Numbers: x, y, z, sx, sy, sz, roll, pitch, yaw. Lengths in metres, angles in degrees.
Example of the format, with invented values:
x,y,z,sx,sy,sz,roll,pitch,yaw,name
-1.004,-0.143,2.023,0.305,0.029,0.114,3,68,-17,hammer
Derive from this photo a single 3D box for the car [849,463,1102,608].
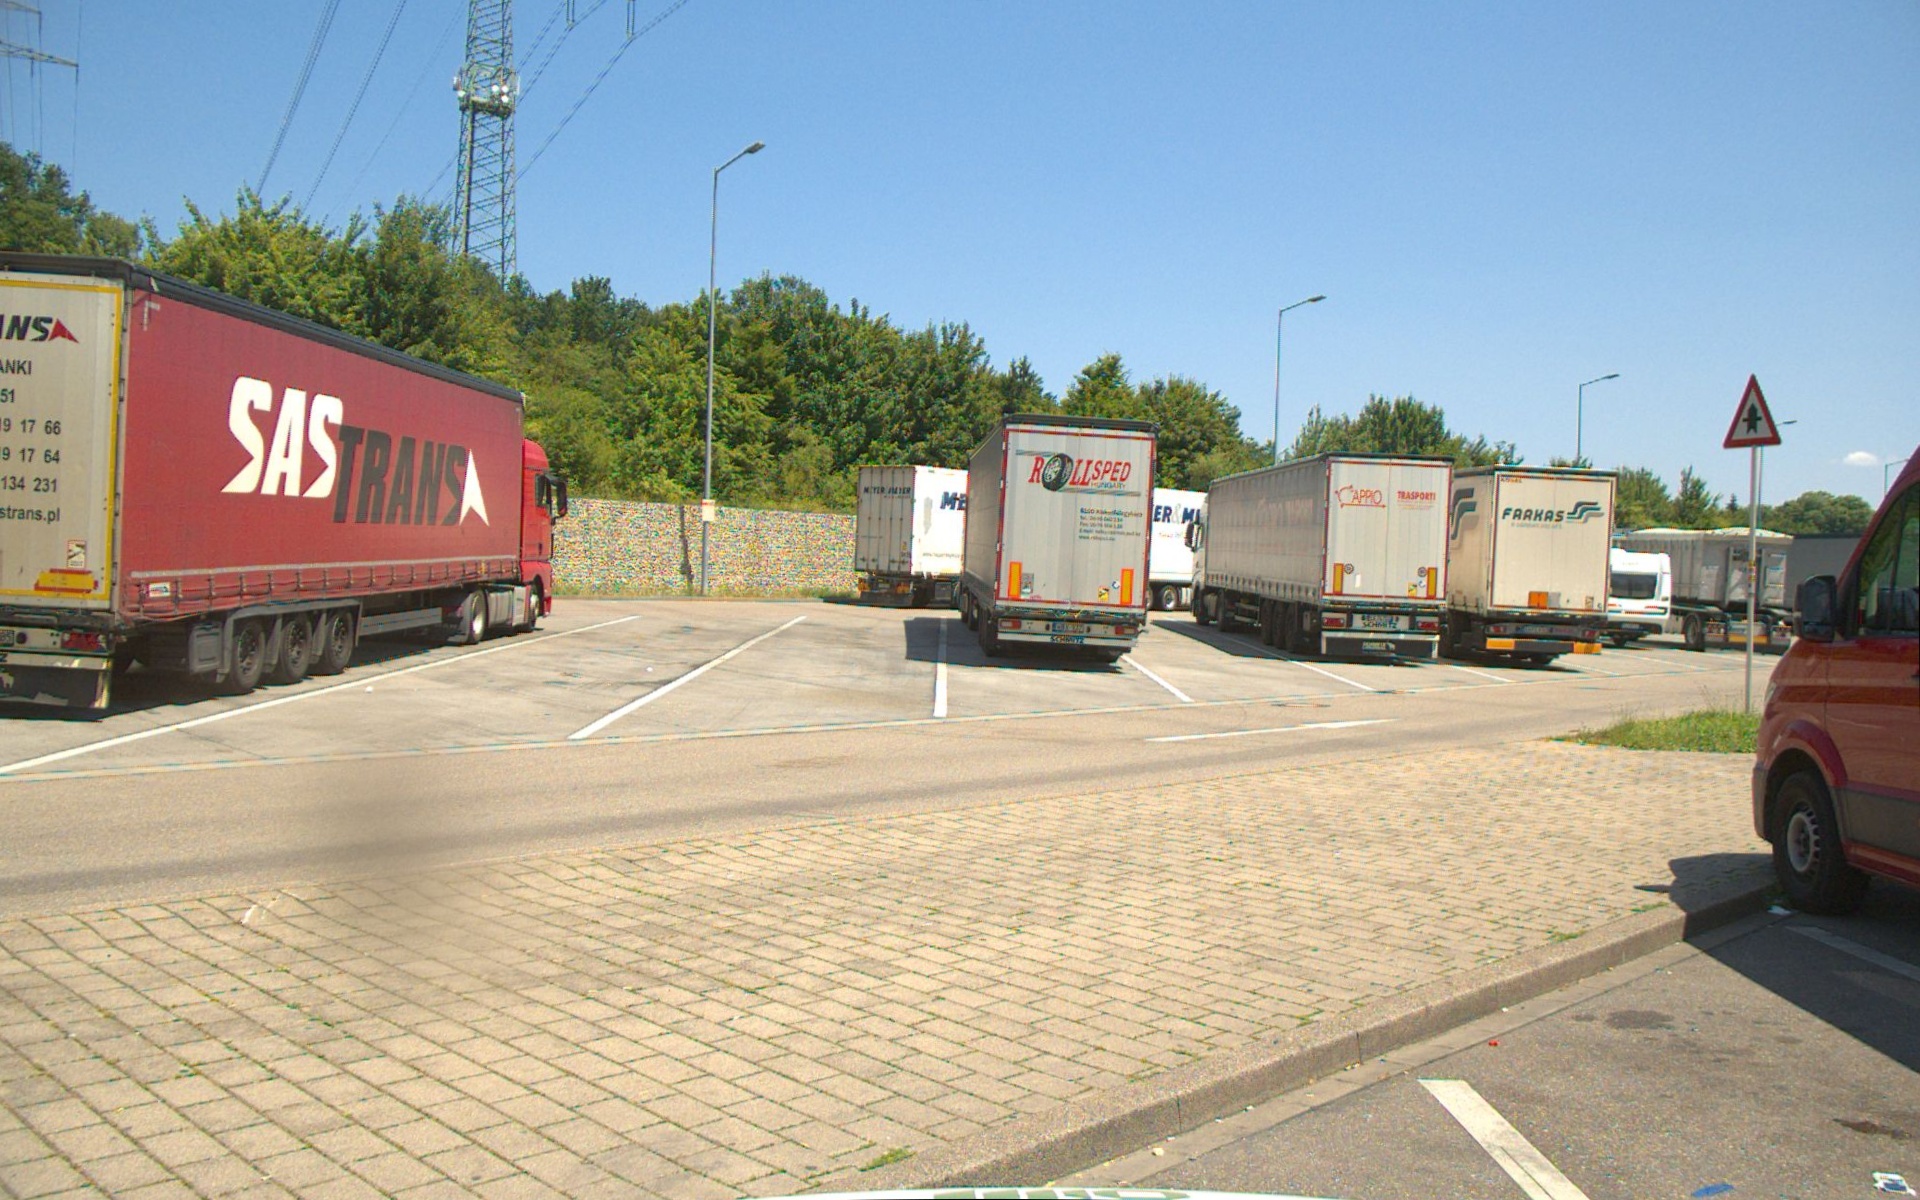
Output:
x,y,z,sx,sy,sz,roll,pitch,yaw,name
0.630,-1.913,51.359,2.645,4.114,8.407,5,3,44,car

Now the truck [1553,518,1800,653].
x,y,z,sx,sy,sz,roll,pitch,yaw,name
21.758,-0.640,51.197,2.437,3.630,11.423,2,2,-1,truck

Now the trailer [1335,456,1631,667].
x,y,z,sx,sy,sz,roll,pitch,yaw,name
11.830,-1.018,39.178,2.808,4.107,12.438,2,2,-1,trailer

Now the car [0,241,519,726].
x,y,z,sx,sy,sz,roll,pitch,yaw,name
-8.673,-1.280,20.921,2.641,4.184,12.935,2,2,0,car

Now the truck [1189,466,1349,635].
x,y,z,sx,sy,sz,roll,pitch,yaw,name
8.175,-1.380,44.692,2.808,4.107,6.956,2,2,-1,truck

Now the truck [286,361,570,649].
x,y,z,sx,sy,sz,roll,pitch,yaw,name
-8.692,-1.528,27.838,2.641,4.184,6.239,2,2,0,truck

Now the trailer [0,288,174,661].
x,y,z,sx,sy,sz,roll,pitch,yaw,name
-12.544,-1.406,17.123,2.756,4.341,12.940,2,2,-1,trailer

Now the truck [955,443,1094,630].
x,y,z,sx,sy,sz,roll,pitch,yaw,name
1.432,-1.562,40.708,2.809,4.107,7.026,2,2,-2,truck

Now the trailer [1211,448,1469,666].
x,y,z,sx,sy,sz,roll,pitch,yaw,name
8.253,-1.085,38.061,2.808,4.107,12.438,2,2,-1,trailer

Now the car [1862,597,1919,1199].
x,y,z,sx,sy,sz,roll,pitch,yaw,name
2.539,0.797,1.069,1.584,1.509,3.762,1,1,-6,car

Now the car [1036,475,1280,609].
x,y,z,sx,sy,sz,roll,pitch,yaw,name
7.129,-1.928,57.973,10.140,4.261,2.645,0,3,-45,car

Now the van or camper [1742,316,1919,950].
x,y,z,sx,sy,sz,roll,pitch,yaw,name
4.989,0.176,5.516,1.954,2.700,6.482,1,1,3,van or camper

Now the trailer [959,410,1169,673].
x,y,z,sx,sy,sz,roll,pitch,yaw,name
1.660,-1.236,33.628,2.809,4.107,14.238,2,2,-2,trailer

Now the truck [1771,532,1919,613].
x,y,z,sx,sy,sz,roll,pitch,yaw,name
34.715,-1.056,63.586,2.082,2.869,9.777,1,1,-1,truck

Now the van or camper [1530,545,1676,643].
x,y,z,sx,sy,sz,roll,pitch,yaw,name
18.277,-0.215,47.301,2.061,2.606,5.372,1,1,0,van or camper
